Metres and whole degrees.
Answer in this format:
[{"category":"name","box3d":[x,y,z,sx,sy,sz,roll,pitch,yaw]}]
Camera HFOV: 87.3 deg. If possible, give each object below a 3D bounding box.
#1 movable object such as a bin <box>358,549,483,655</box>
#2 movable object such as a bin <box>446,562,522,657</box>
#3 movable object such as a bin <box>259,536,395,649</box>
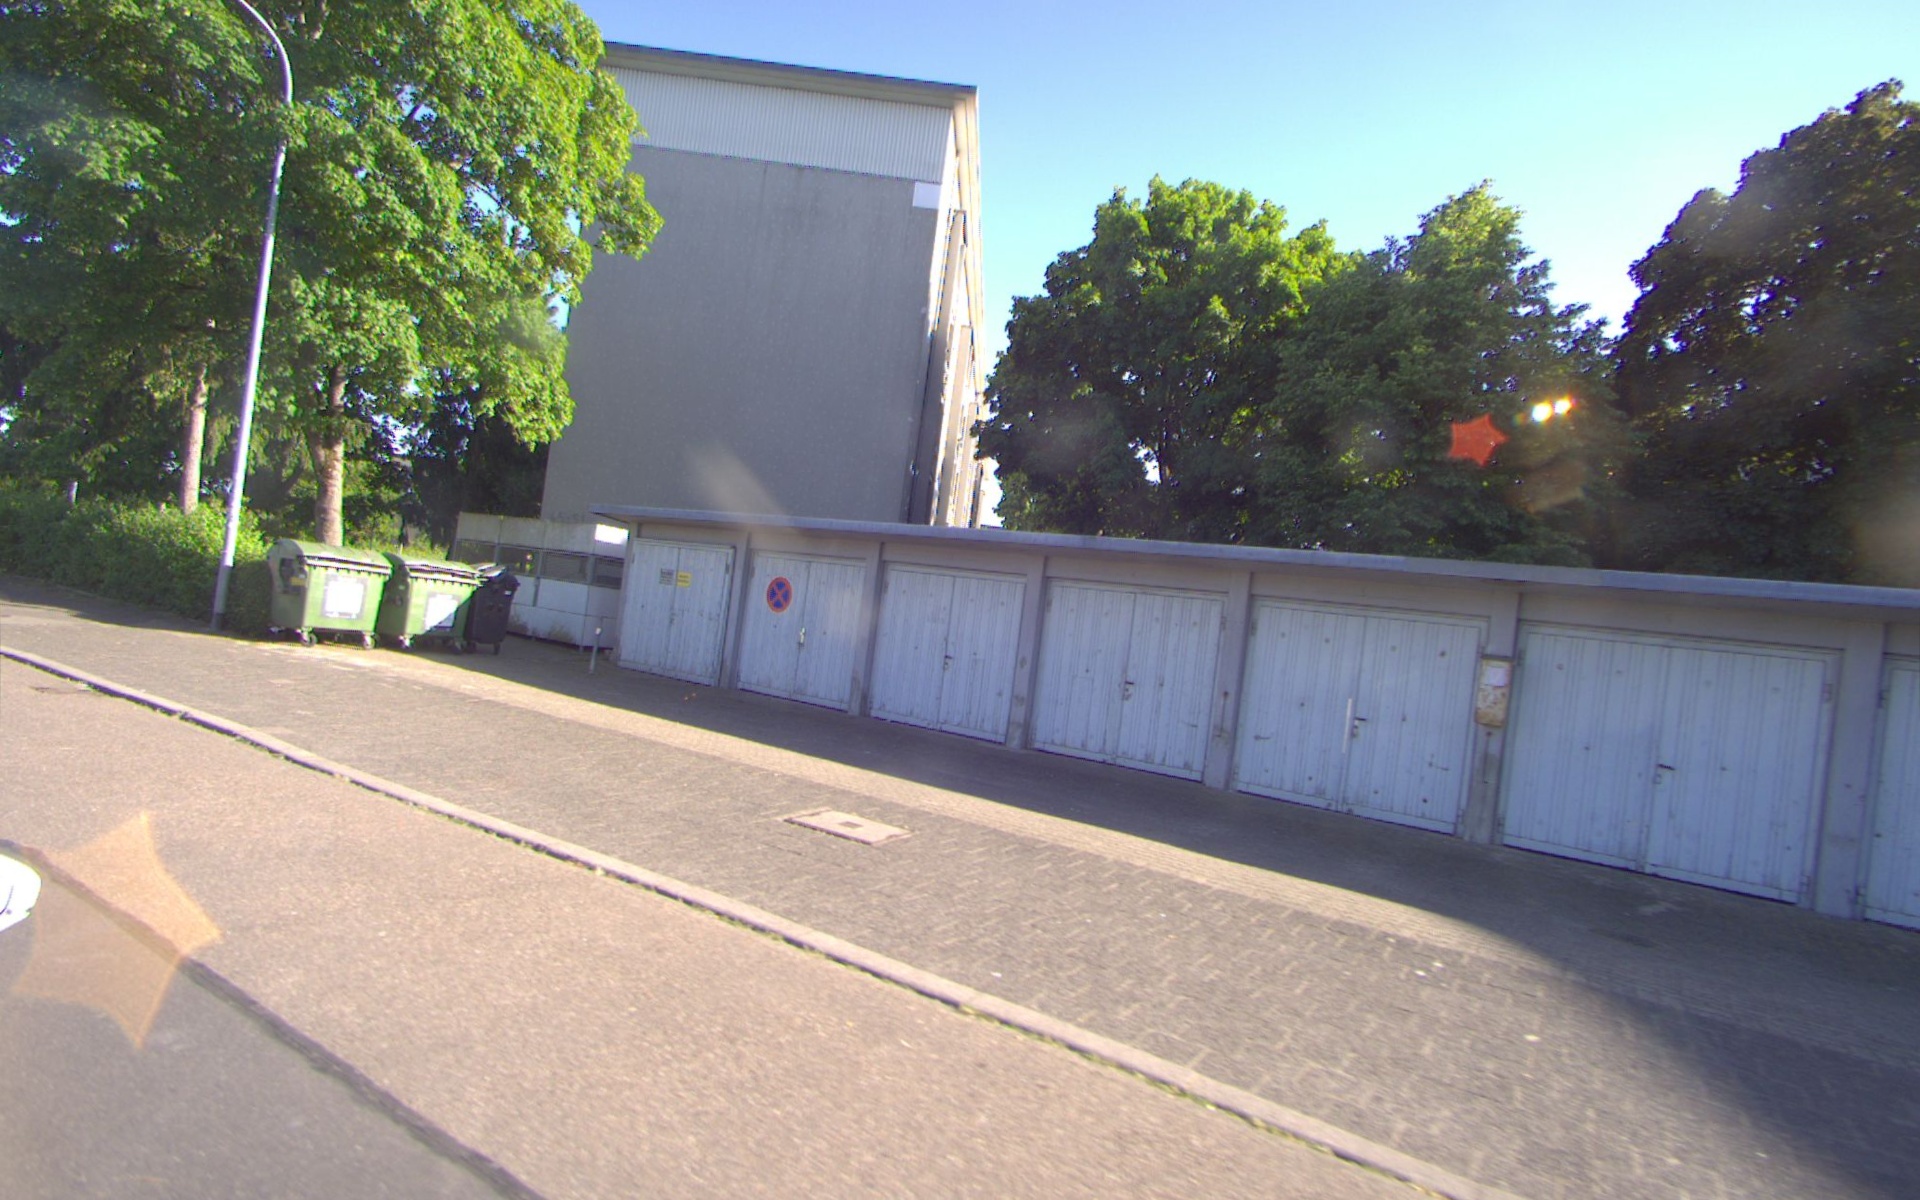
[{"category":"movable object such as a bin","box3d":[-8.319,0.049,15.551,0.935,1.432,1.277,6,-2,30]},{"category":"movable object such as a bin","box3d":[-7.776,0.163,16.446,0.677,1.432,0.725,6,-1,30]},{"category":"movable object such as a bin","box3d":[-9.021,-0.086,14.371,0.899,1.419,1.240,6,-2,30]}]
